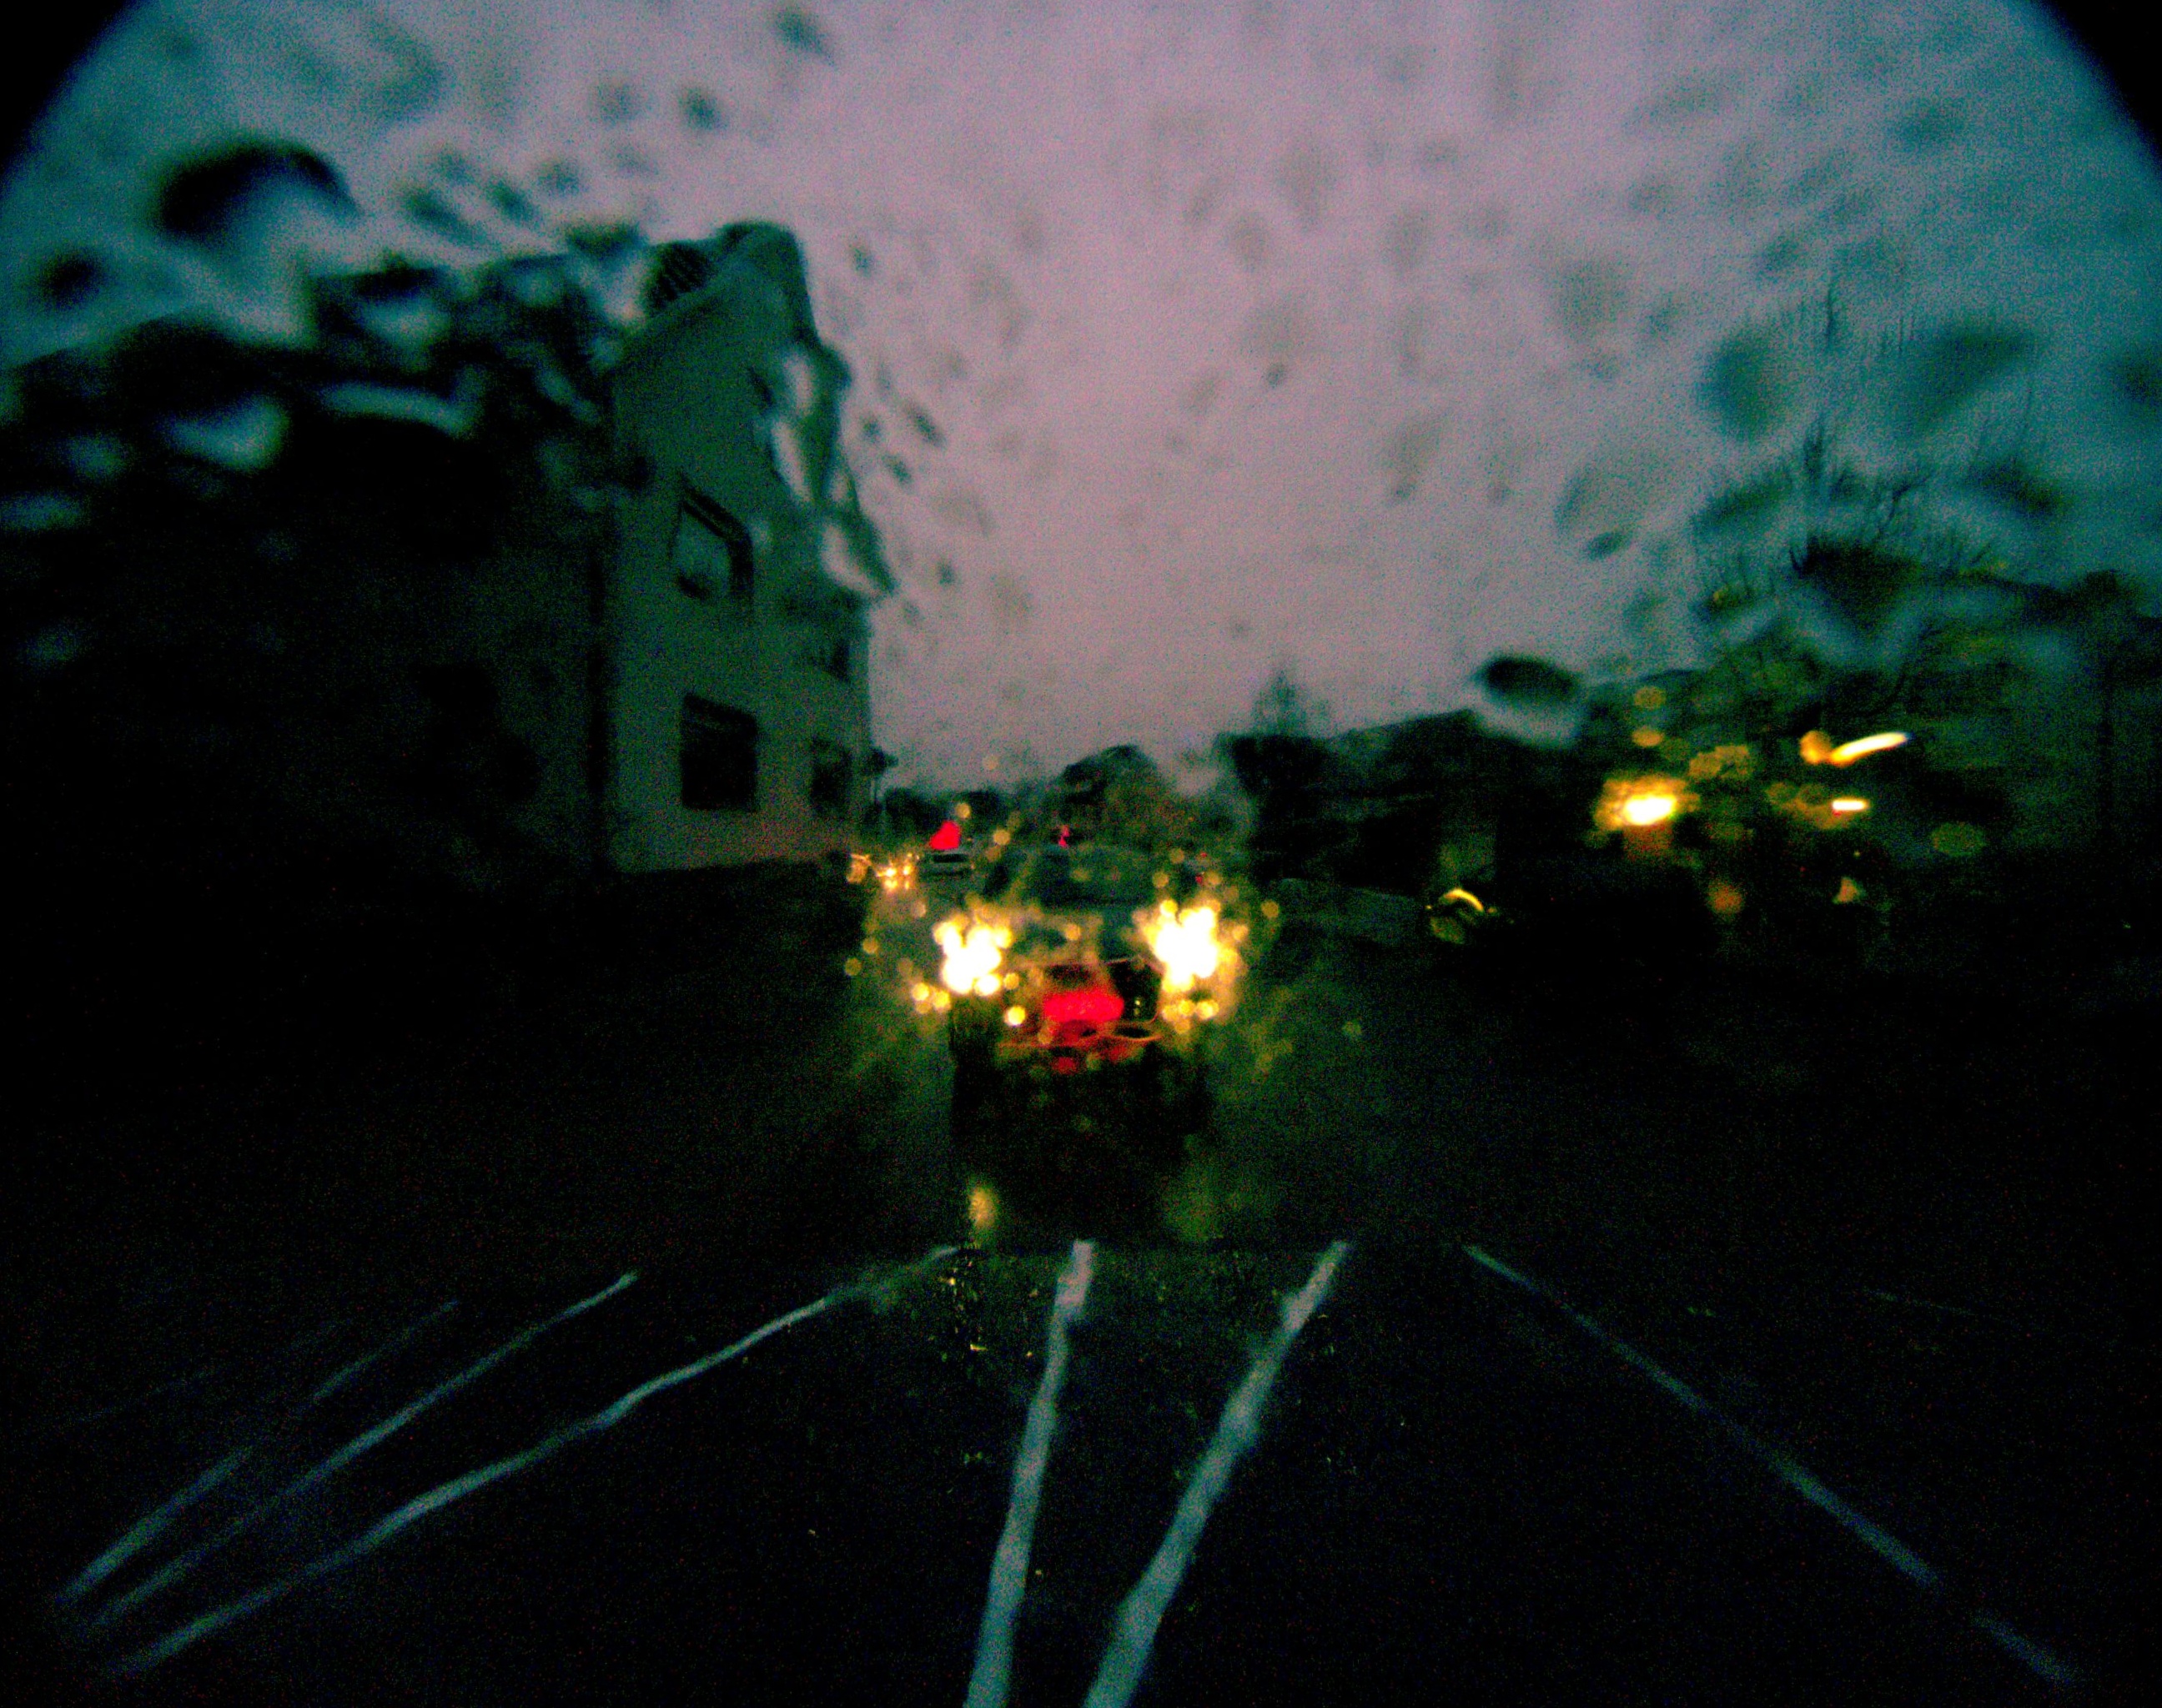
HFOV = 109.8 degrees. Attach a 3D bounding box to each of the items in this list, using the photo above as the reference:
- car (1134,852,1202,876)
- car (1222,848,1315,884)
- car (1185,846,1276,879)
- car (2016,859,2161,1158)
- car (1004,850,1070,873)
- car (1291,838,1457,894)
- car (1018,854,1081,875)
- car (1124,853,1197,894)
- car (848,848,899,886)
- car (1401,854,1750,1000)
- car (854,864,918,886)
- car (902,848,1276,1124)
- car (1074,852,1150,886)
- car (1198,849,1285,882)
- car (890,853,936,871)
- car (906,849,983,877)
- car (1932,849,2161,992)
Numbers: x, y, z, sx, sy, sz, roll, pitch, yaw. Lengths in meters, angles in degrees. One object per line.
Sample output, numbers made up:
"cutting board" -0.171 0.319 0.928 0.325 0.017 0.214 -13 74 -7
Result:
"car" 5.344 0.608 47.139 4.069 1.451 1.758 -1 1 4
"car" 8.536 0.521 34.786 3.993 1.521 2.002 -1 0 13
"car" 7.888 0.448 40.428 4.649 1.644 1.989 0 1 9
"car" 6.460 0.794 2.644 1.697 1.507 3.772 -2 0 -2
"car" -3.310 0.538 57.317 4.456 1.623 2.150 -1 1 -29
"car" 10.405 0.409 27.453 5.387 1.874 2.076 0 0 16
"car" -2.563 0.870 62.134 4.775 1.625 1.997 1 -1 -21
"car" 3.177 0.745 30.965 1.840 1.527 3.671 -2 1 -13
"car" -11.513 0.712 41.918 1.982 1.948 4.842 -1 0 -23
"car" 6.204 0.775 10.311 1.751 1.464 4.457 -2 0 -1
"car" -13.946 1.487 54.417 4.104 1.496 1.892 -1 1 22
"car" -0.058 0.788 7.210 2.270 1.633 5.064 -1 1 -3
"car" 1.458 0.706 37.268 1.913 1.524 4.247 -2 0 -26
"car" 7.876 0.549 37.626 4.107 1.573 1.722 0 1 9
"car" -17.974 0.876 81.207 4.435 1.790 1.840 -1 0 -30
"car" -10.606 0.717 59.466 5.778 1.934 1.990 -2 0 -6
"car" 12.486 0.691 8.172 4.078 1.468 1.742 0 0 23
